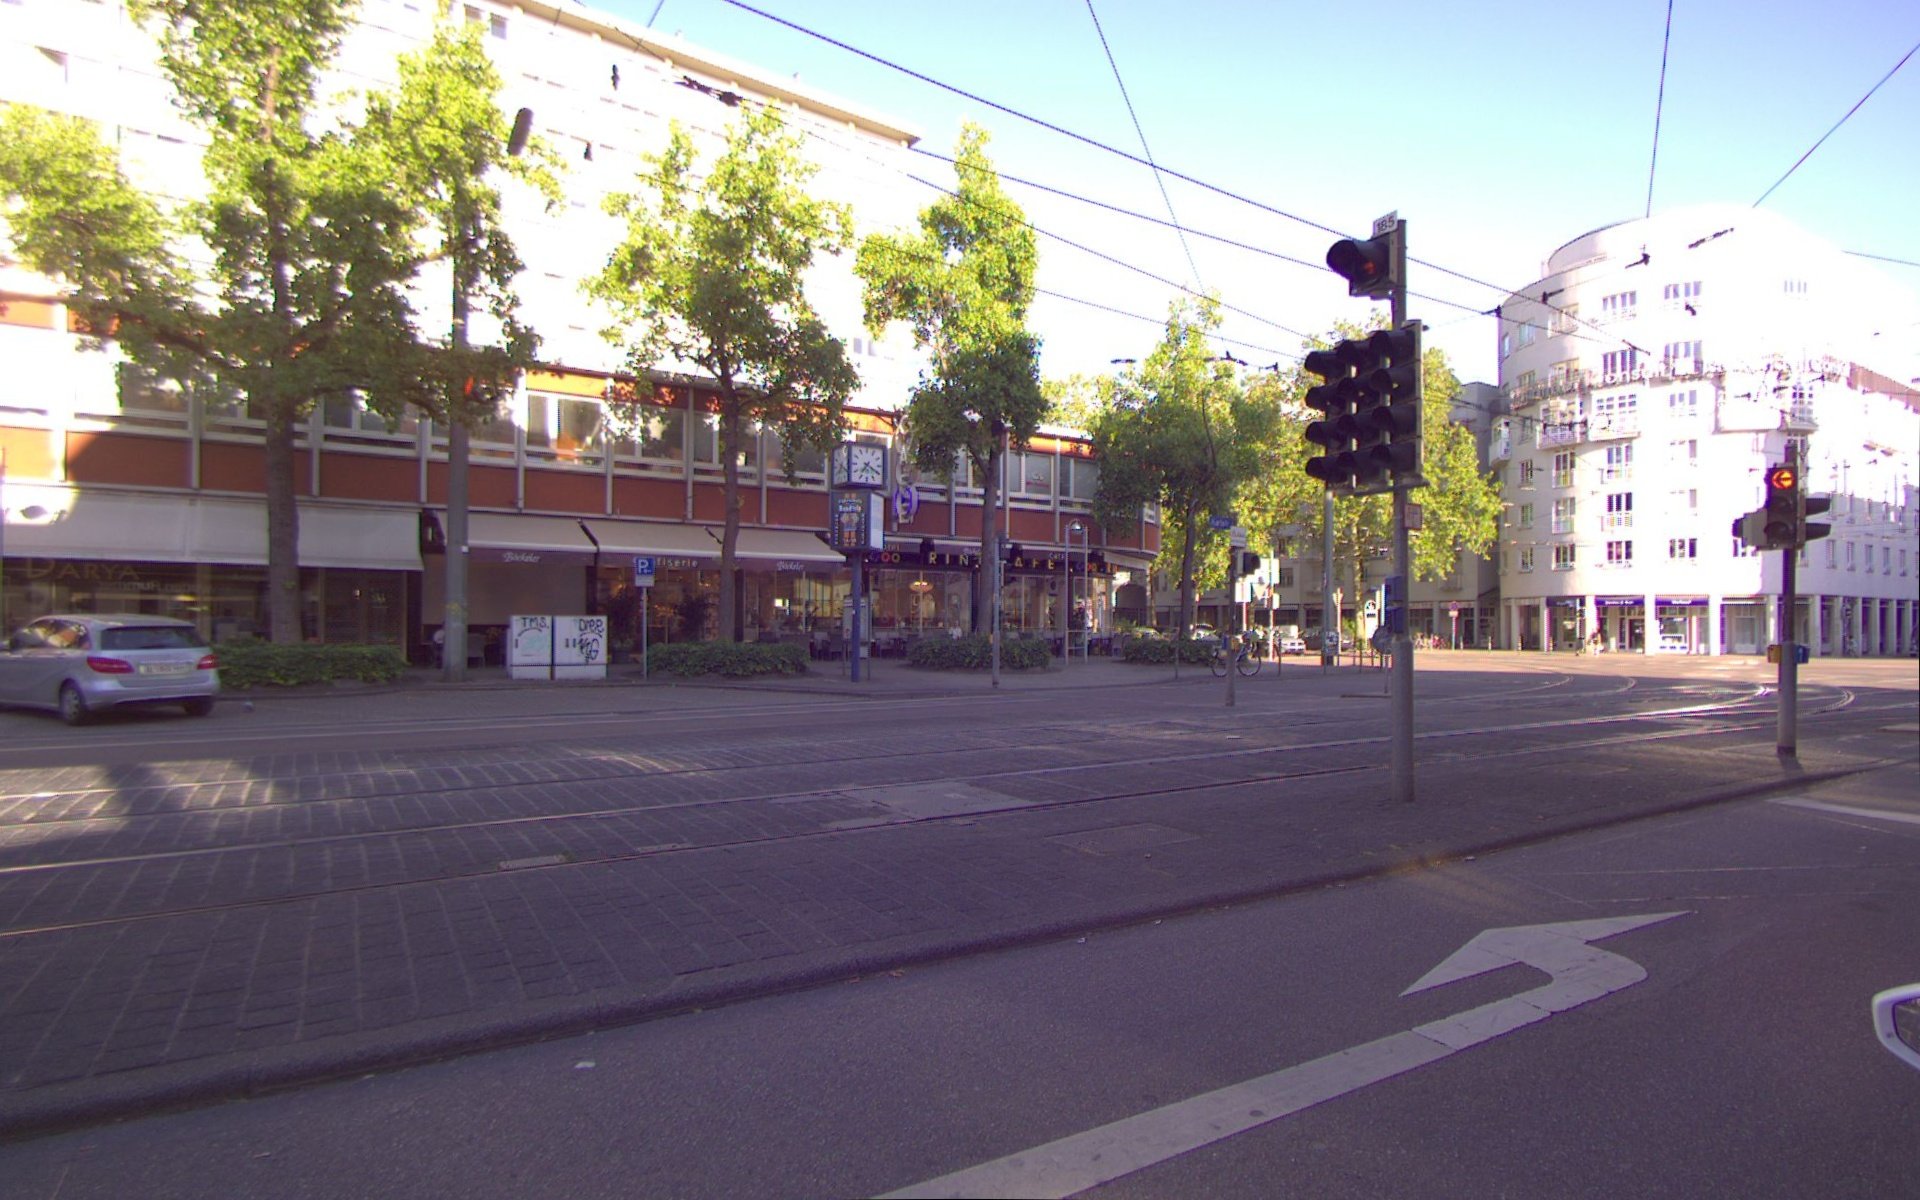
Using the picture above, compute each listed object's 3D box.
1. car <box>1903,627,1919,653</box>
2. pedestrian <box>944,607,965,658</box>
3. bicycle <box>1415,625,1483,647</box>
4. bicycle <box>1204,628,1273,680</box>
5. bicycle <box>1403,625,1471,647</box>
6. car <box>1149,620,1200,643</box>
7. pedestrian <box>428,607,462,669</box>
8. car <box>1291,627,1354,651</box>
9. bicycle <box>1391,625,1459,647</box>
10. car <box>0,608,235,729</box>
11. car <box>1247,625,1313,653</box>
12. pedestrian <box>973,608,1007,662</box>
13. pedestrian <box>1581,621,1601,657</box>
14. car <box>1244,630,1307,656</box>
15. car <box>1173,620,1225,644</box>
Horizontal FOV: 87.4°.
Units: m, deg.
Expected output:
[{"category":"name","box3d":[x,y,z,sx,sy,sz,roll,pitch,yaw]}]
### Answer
[{"category":"car","box3d":[58.404,2.394,60.313,3.423,1.566,1.756,1,-2,-32]},{"category":"pedestrian","box3d":[-0.204,1.109,34.973,0.590,1.745,0.647,0,1,-14]},{"category":"bicycle","box3d":[35.207,2.578,72.418,1.053,1.550,4.684,1,-2,-29]},{"category":"bicycle","box3d":[7.639,1.454,27.546,1.884,1.345,0.667,1,2,-30]},{"category":"bicycle","box3d":[33.915,2.538,71.590,1.053,1.550,4.684,1,-2,-29]},{"category":"car","box3d":[18.369,2.679,85.925,3.954,1.990,1.984,1,-1,-31]},{"category":"pedestrian","box3d":[-13.362,0.974,26.050,0.699,1.584,0.867,1,-1,-33]},{"category":"car","box3d":[24.101,2.573,66.928,1.595,1.551,3.972,0,-1,-27]},{"category":"bicycle","box3d":[32.884,2.532,71.126,1.053,1.550,4.684,1,-2,-29]},{"category":"car","box3d":[-13.557,0.979,15.709,4.200,1.587,1.825,1,-1,26]},{"category":"car","box3d":[18.670,2.267,58.811,1.605,1.579,4.001,0,-2,-19]},{"category":"pedestrian","box3d":[0.989,1.147,33.307,0.866,1.745,0.700,0,1,-34]},{"category":"pedestrian","box3d":[36.150,2.235,57.555,0.930,2.040,0.939,0,-1,30]},{"category":"car","box3d":[16.806,2.280,53.698,1.738,1.312,4.014,0,-2,-7]},{"category":"car","box3d":[19.851,2.642,83.415,3.954,1.990,1.984,1,-1,-31]}]
